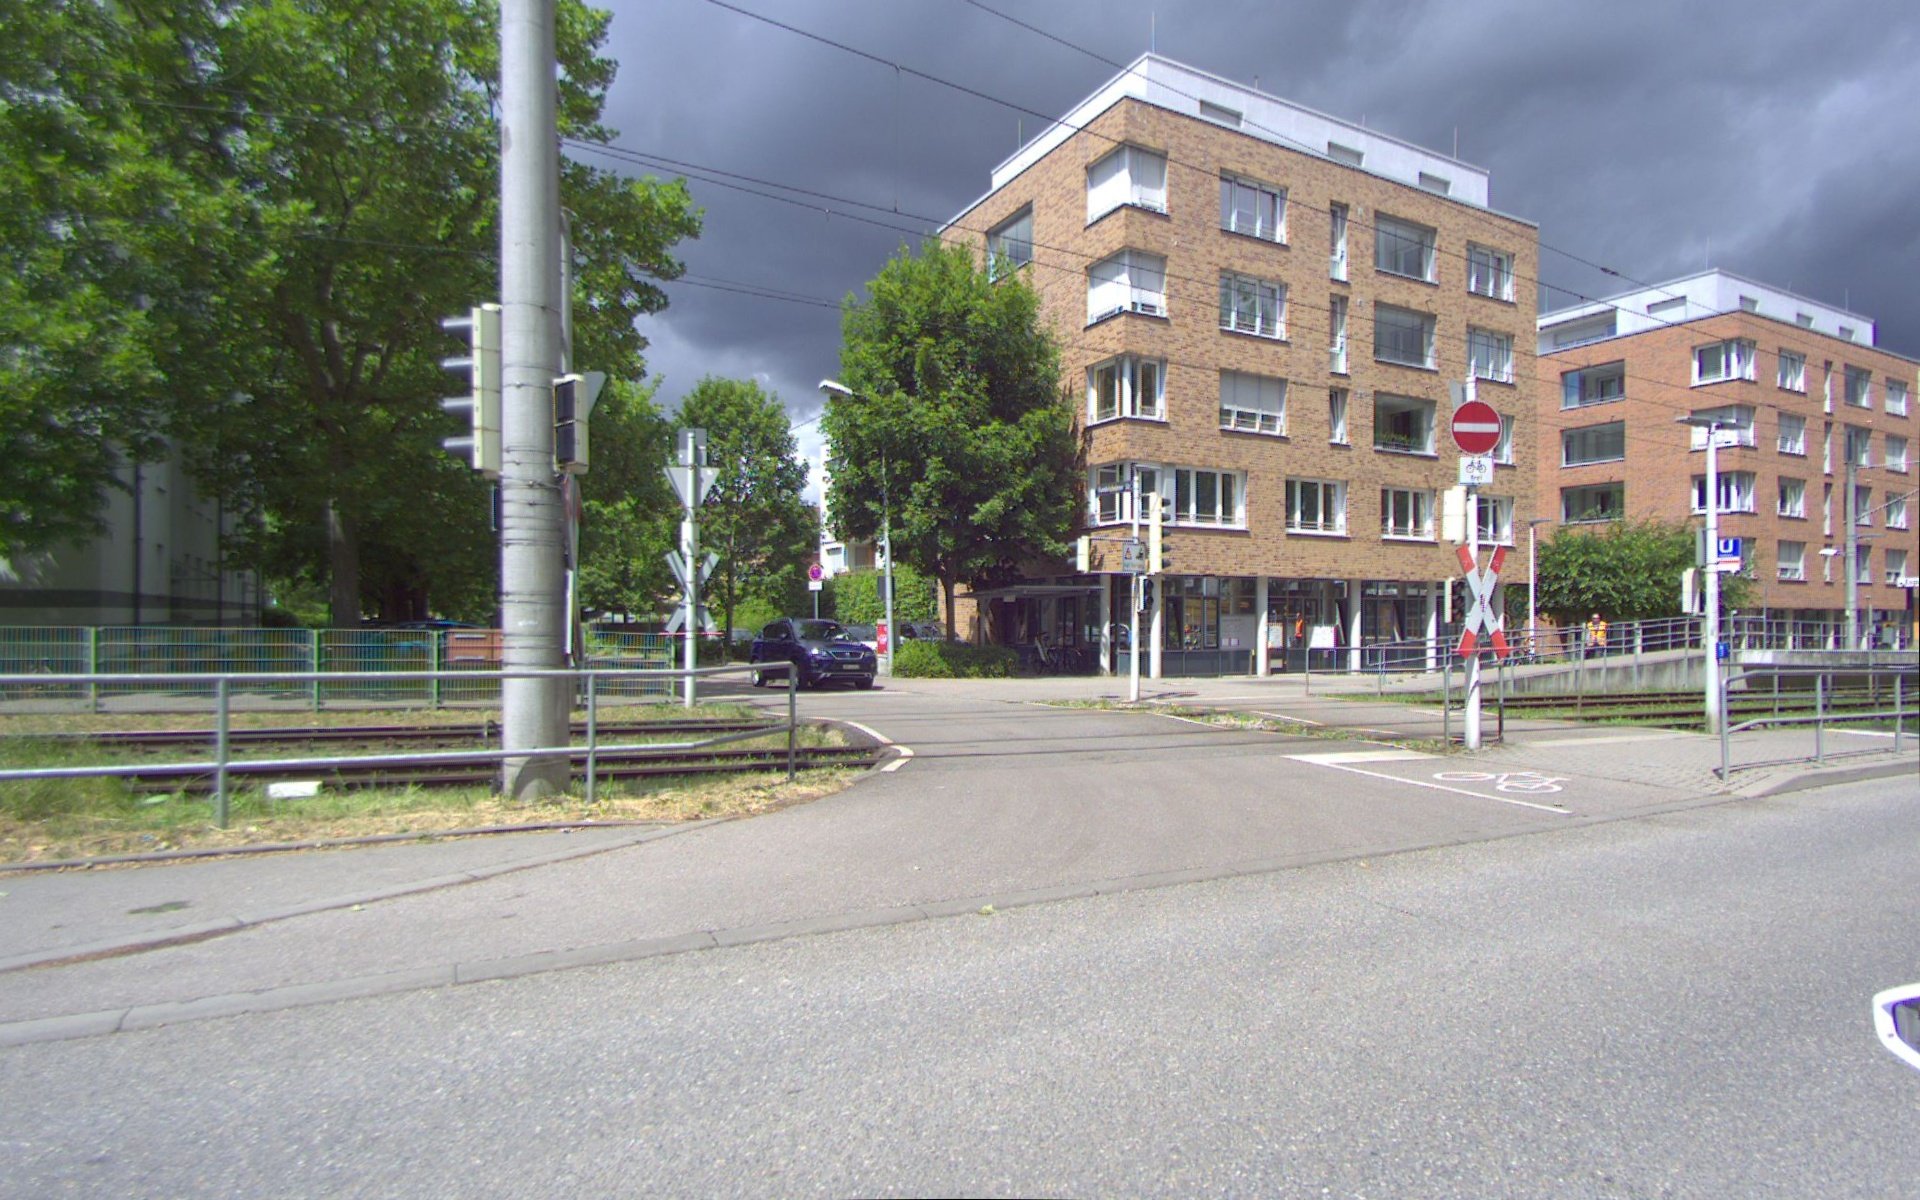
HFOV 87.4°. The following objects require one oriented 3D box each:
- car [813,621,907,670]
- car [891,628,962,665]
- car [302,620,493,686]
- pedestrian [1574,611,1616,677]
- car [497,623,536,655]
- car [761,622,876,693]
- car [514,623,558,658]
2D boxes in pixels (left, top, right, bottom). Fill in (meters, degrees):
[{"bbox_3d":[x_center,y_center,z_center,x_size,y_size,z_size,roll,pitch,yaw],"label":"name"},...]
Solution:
[{"bbox_3d":[-3.162,1.381,31.151,1.576,1.418,3.514,1,-2,-31],"label":"car"},{"bbox_3d":[-1.100,1.450,31.788,1.135,1.134,2.640,1,-2,-31],"label":"car"},{"bbox_3d":[-14.425,1.346,25.858,4.073,1.576,1.842,3,-2,-37],"label":"car"},{"bbox_3d":[18.330,1.261,29.010,0.819,1.849,0.740,1,-1,-30],"label":"pedestrian"},{"bbox_3d":[-28.515,2.484,64.554,1.772,1.947,4.027,1,-2,-32],"label":"car"},{"bbox_3d":[-3.338,1.331,23.172,1.567,1.495,3.661,1,-3,-26],"label":"car"},{"bbox_3d":[-25.188,2.373,59.587,1.772,1.947,4.027,1,-2,-32],"label":"car"}]
